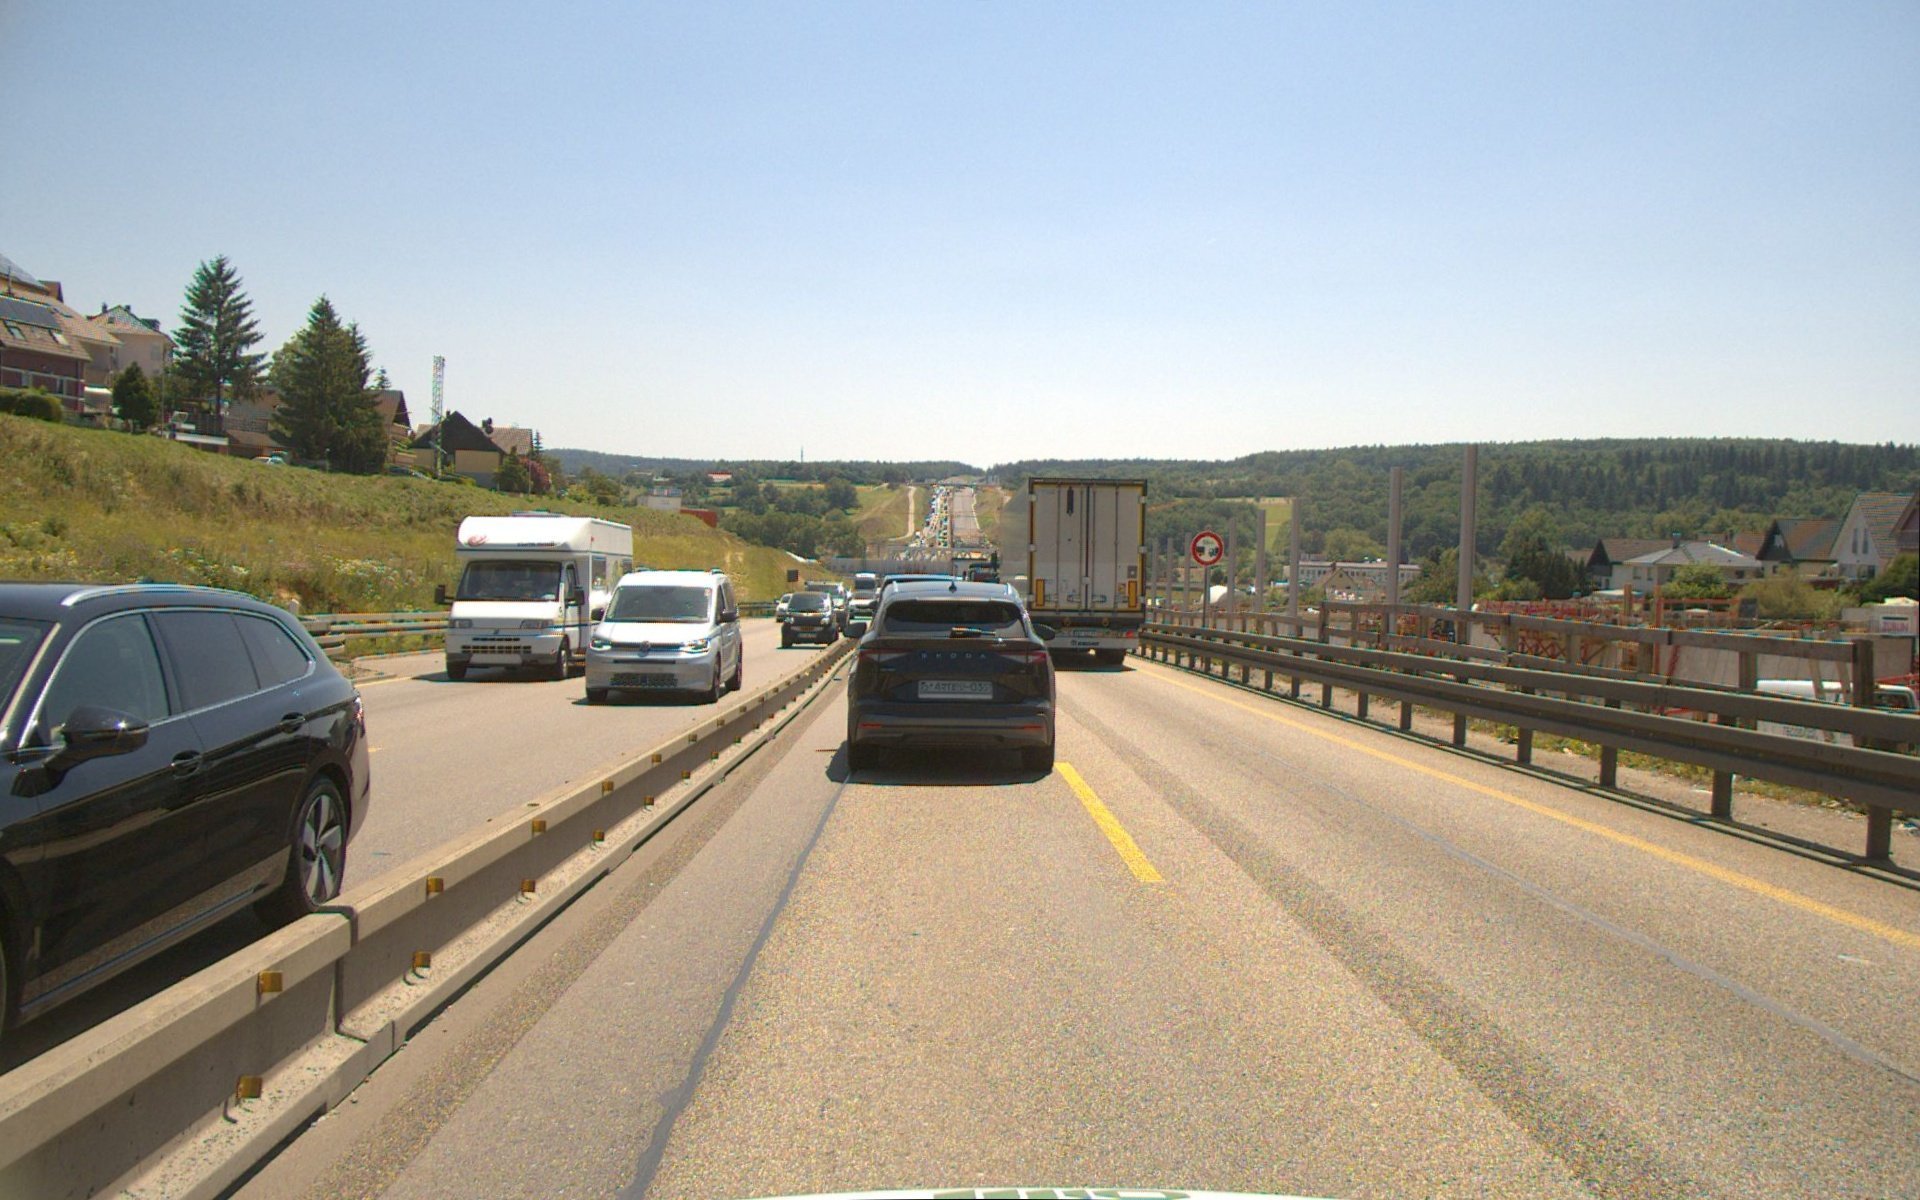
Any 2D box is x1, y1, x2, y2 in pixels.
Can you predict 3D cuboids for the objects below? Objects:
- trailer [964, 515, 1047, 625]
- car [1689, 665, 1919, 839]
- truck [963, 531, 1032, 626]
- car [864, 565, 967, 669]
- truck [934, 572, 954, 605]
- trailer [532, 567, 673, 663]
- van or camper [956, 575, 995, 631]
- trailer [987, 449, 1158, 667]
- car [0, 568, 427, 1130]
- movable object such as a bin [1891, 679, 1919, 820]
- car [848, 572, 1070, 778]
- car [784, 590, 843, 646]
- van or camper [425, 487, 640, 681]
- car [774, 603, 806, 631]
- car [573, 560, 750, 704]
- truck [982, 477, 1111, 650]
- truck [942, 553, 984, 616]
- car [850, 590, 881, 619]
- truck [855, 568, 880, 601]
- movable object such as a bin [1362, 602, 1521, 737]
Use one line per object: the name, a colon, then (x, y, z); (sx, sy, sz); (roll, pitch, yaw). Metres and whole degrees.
trailer: (1.946, -1.170, 77.351); (3.116, 4.592, 14.961); (1, -1, -1)
car: (16.922, 2.830, 32.812); (2.100, 2.906, 7.024); (0, -1, 2)
truck: (1.843, -0.989, 84.524); (3.116, 4.592, 8.162); (1, -1, -1)
car: (-0.902, 0.361, 33.813); (1.953, 1.959, 4.506); (1, -1, -2)
truck: (-2.247, -1.587, 227.947); (2.586, 4.267, 9.281); (1, -1, -1)
trailer: (-7.710, 0.298, 36.190); (2.059, 1.927, 5.140); (1, 0, -1)
van or camper: (0.967, 0.222, 102.350); (2.339, 3.338, 6.469); (0, -1, 1)
trailer: (2.501, -0.953, 41.651); (3.116, 4.592, 13.105); (1, 0, -1)
car: (-3.494, 0.656, 5.752); (1.805, 1.501, 4.833); (0, 0, -1)
movable object such as a bin: (19.685, 2.910, 30.580); (2.100, 2.723, 5.502); (0, -1, 3)
car: (-0.026, 0.612, 15.237); (1.765, 1.635, 3.999); (1, 0, -1)
car: (-4.100, 0.493, 46.505); (1.453, 1.531, 2.804); (0, 0, -1)
van or camper: (-7.592, -0.265, 30.250); (2.245, 3.120, 6.922); (1, 0, -1)
car: (-8.910, 0.894, 86.883); (1.527, 1.426, 3.464); (1, -1, -4)
car: (-4.220, 0.411, 24.135); (1.800, 1.860, 5.038); (1, 0, -2)
truck: (2.353, -1.008, 48.150); (3.116, 4.592, 8.164); (1, 0, -1)
truck: (0.148, -1.085, 127.352); (2.794, 4.543, 11.912); (1, -1, -2)
car: (-5.591, 0.230, 98.285); (1.770, 1.668, 4.170); (0, 0, -2)
truck: (-10.689, -1.791, 192.262); (2.723, 3.737, 6.275); (1, 0, -2)
movable object such as a bin: (18.452, 2.574, 64.169); (3.162, 4.826, 9.651); (1, -1, -1)
